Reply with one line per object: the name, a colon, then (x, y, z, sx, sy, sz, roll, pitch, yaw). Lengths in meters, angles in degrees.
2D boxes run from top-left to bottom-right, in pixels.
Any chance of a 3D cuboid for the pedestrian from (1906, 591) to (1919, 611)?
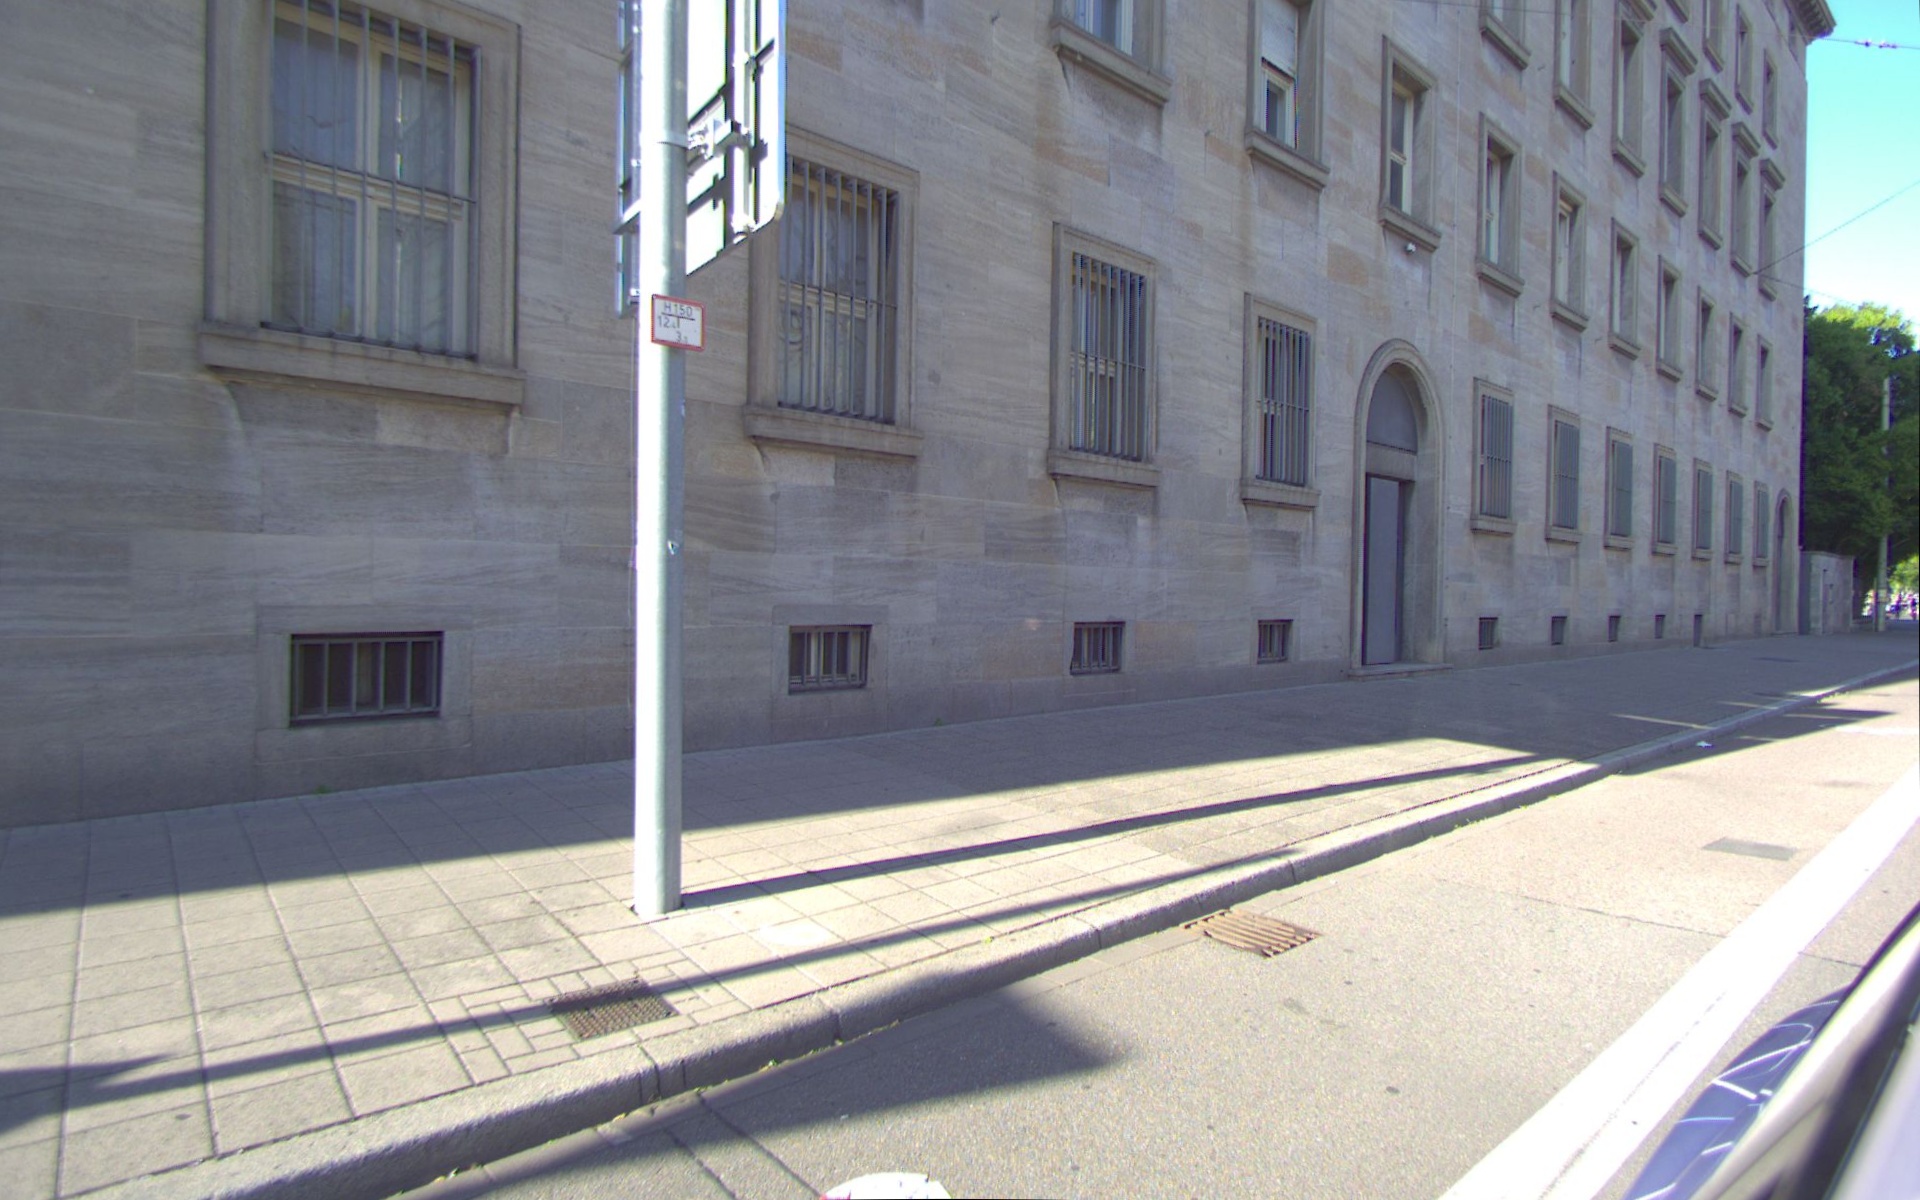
pedestrian: (81.698, 0.074, 86.743, 0.828, 1.742, 0.792, 1, 1, 43)
